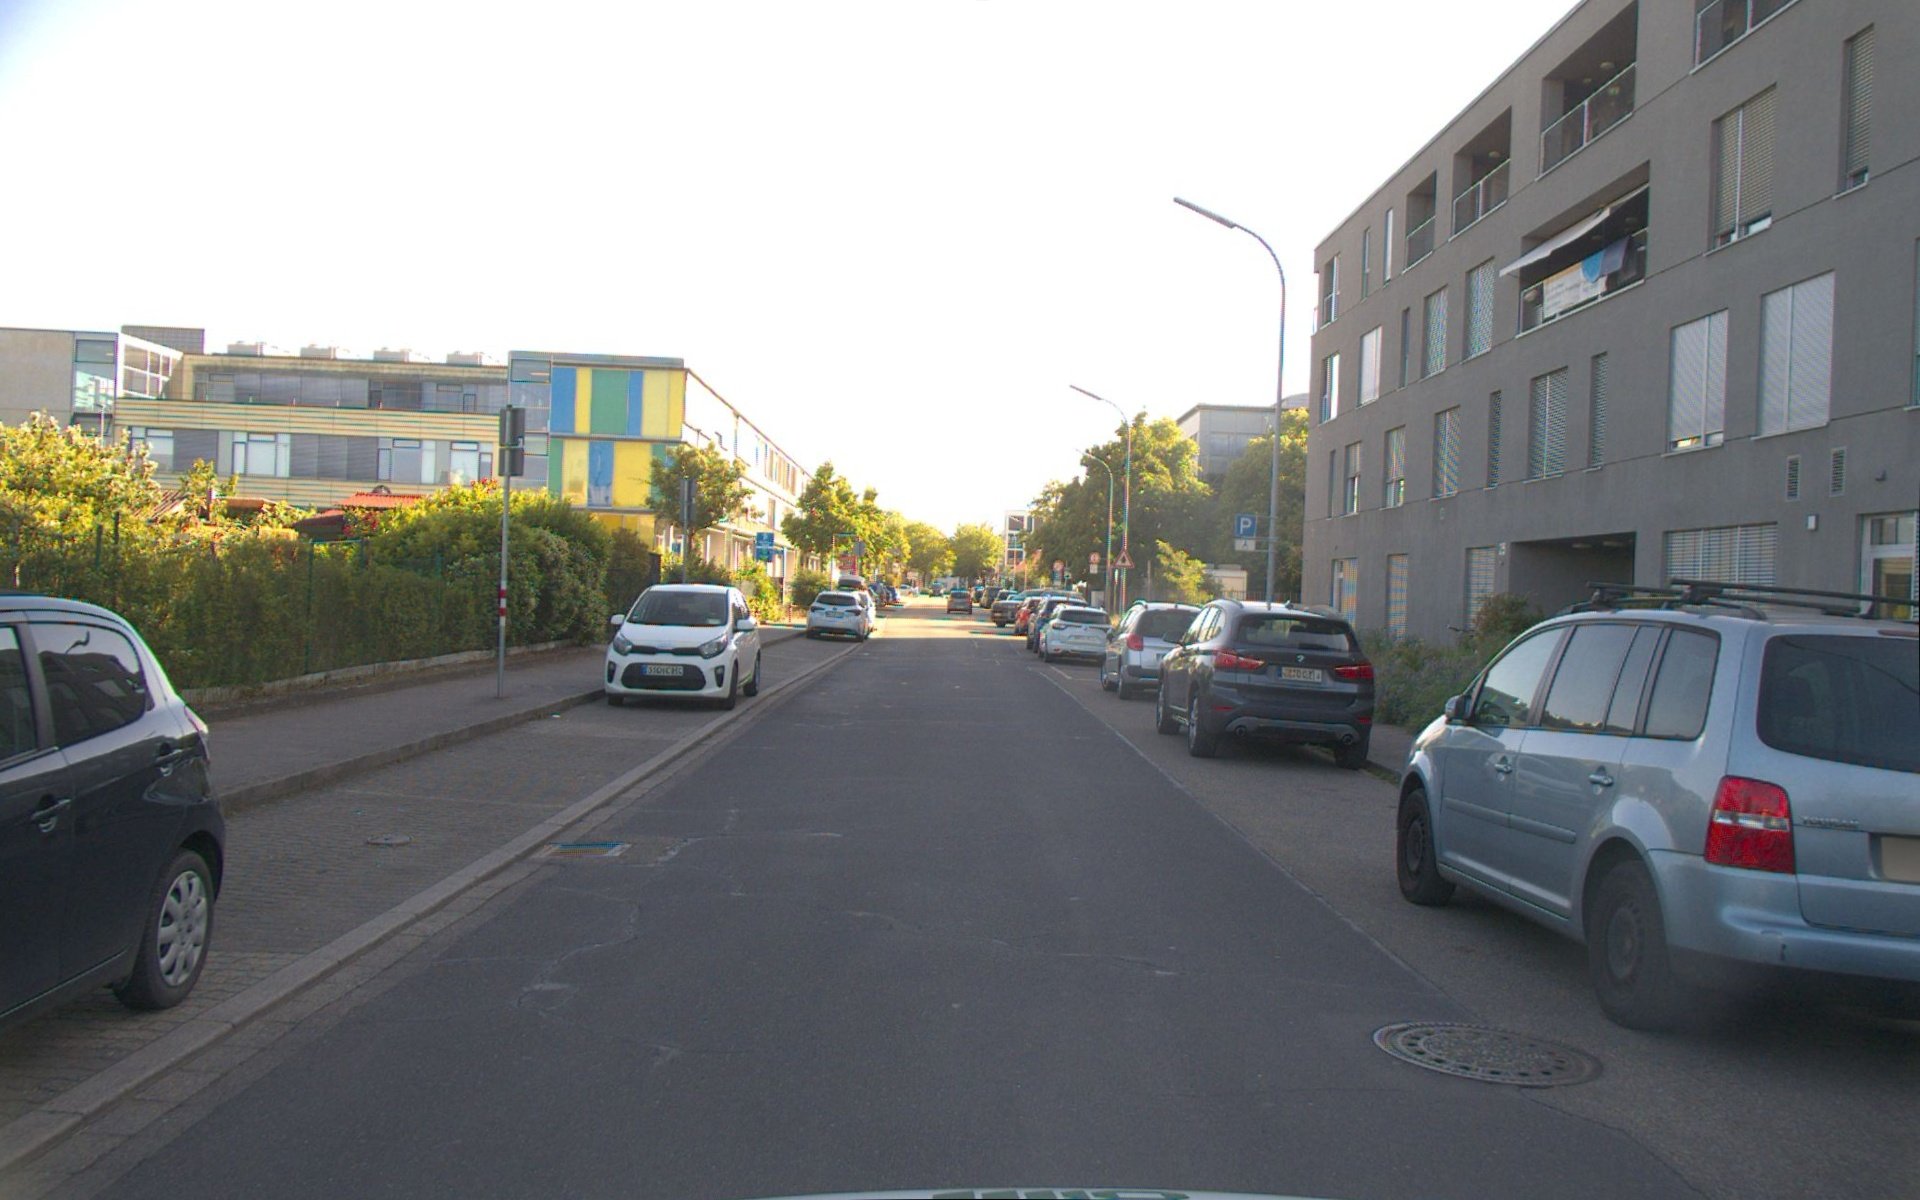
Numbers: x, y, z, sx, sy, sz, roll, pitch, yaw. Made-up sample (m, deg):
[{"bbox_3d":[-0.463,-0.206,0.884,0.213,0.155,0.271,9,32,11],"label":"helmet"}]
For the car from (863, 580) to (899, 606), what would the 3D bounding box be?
[{"bbox_3d":[-5.255,-0.452,110.232,1.816,1.590,4.136,4,0,4],"label":"car"}]

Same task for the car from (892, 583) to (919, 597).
[{"bbox_3d":[-7.402,-1.367,225.356,3.533,1.576,1.448,4,0,-6],"label":"car"}]

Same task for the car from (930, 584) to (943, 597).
[{"bbox_3d":[-3.139,-1.298,223.139,1.630,1.576,3.901,4,0,-1],"label":"car"}]

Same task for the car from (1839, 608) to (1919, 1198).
[{"bbox_3d":[3.361,0.868,2.804,1.590,1.553,3.901,4,0,0],"label":"car"}]

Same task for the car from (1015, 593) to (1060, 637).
[{"bbox_3d":[3.001,0.573,64.414,1.416,1.576,3.613,4,0,-1],"label":"car"}]

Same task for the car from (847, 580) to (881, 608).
[{"bbox_3d":[-5.873,-0.382,101.939,1.817,1.590,4.133,4,0,-1],"label":"car"}]

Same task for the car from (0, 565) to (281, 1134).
[{"bbox_3d":[-3.362,0.658,4.435,1.528,1.520,3.570,5,0,-1],"label":"car"}]

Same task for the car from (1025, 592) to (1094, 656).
[{"bbox_3d":[2.849,0.659,48.001,1.600,1.658,3.613,4,0,-1],"label":"car"}]

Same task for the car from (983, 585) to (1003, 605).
[{"bbox_3d":[2.732,-0.431,138.037,1.416,1.576,3.613,4,0,-1],"label":"car"}]

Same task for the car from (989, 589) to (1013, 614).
[{"bbox_3d":[2.773,0.102,112.631,1.416,1.576,3.613,4,0,-1],"label":"car"}]

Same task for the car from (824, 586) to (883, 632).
[{"bbox_3d":[-3.760,0.308,59.065,1.817,1.453,4.133,4,0,-1],"label":"car"}]

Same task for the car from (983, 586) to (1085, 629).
[{"bbox_3d":[3.308,0.337,73.643,4.129,1.573,1.835,4,0,-27],"label":"car"}]

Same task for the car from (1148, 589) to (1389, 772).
[{"bbox_3d":[3.220,0.773,18.058,1.706,1.653,4.178,4,0,-1],"label":"car"}]

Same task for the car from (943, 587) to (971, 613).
[{"bbox_3d":[-0.201,-0.002,109.165,1.655,1.576,3.613,4,0,-1],"label":"car"}]

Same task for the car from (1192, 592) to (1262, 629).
[{"bbox_3d":[13.034,0.488,80.896,3.150,1.576,1.450,4,0,2],"label":"car"}]

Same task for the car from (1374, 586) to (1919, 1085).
[{"bbox_3d":[3.365,0.826,7.695,1.643,1.636,4.178,4,0,-1],"label":"car"}]

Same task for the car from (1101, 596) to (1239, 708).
[{"bbox_3d":[3.354,0.789,27.055,1.624,1.578,3.850,4,0,-1],"label":"car"}]

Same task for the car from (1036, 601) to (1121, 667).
[{"bbox_3d":[2.957,0.829,41.993,1.706,1.453,4.133,4,0,-1],"label":"car"}]

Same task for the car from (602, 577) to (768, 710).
[{"bbox_3d":[-3.473,0.507,21.478,1.528,1.521,3.758,2,0,-1],"label":"car"}]

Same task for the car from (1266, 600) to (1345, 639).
[{"bbox_3d":[15.193,0.844,72.837,3.150,1.486,1.450,4,0,2],"label":"car"}]

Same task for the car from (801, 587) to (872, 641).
[{"bbox_3d":[-3.738,0.400,50.725,1.817,1.453,4.133,4,0,-1],"label":"car"}]
